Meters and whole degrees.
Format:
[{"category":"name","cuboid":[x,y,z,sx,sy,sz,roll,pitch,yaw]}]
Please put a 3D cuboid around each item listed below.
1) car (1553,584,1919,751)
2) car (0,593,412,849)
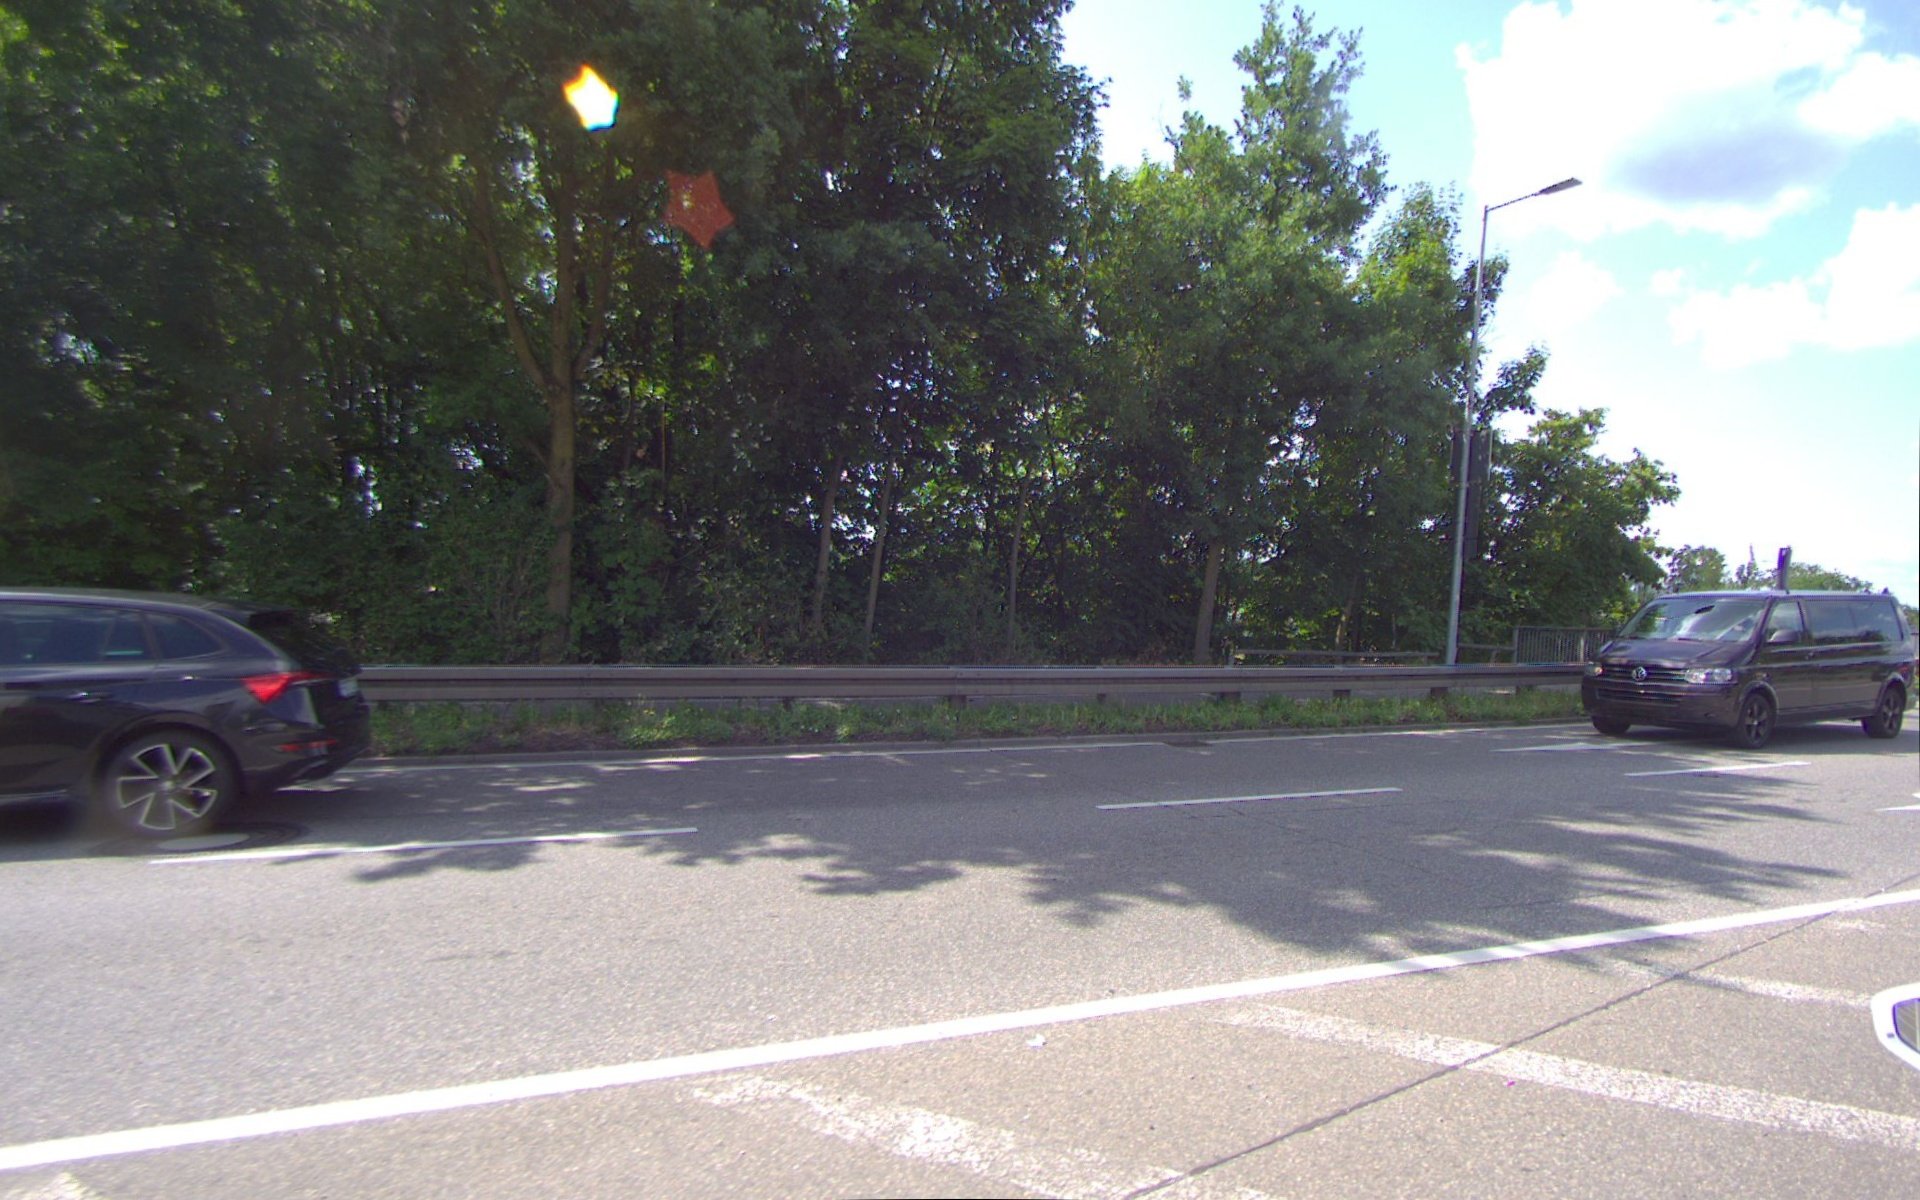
[{"category":"car","cuboid":[10.636,0.835,13.706,5.066,1.939,1.986,1,0,-27]},{"category":"car","cuboid":[-5.955,0.669,6.234,4.275,1.428,1.632,1,-1,-22]}]
